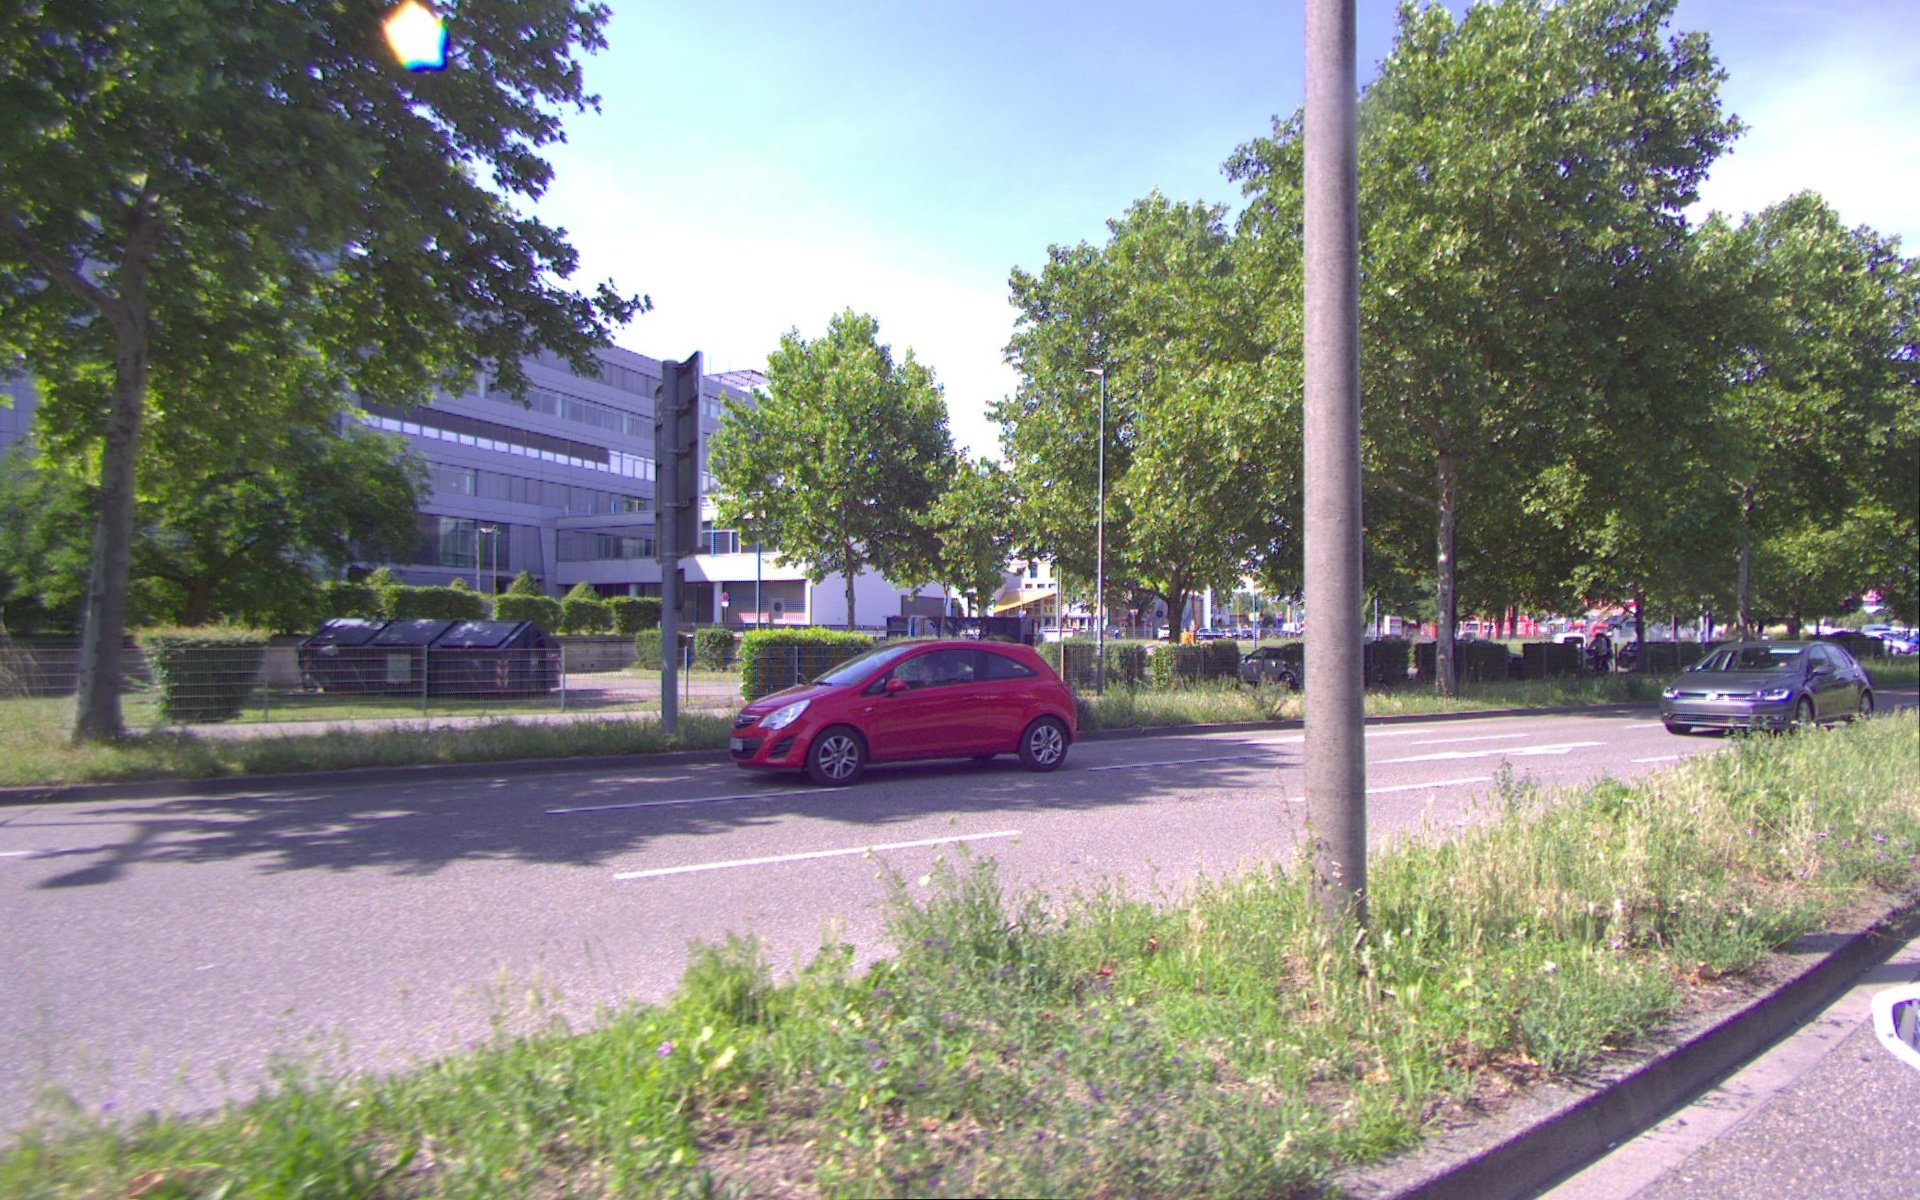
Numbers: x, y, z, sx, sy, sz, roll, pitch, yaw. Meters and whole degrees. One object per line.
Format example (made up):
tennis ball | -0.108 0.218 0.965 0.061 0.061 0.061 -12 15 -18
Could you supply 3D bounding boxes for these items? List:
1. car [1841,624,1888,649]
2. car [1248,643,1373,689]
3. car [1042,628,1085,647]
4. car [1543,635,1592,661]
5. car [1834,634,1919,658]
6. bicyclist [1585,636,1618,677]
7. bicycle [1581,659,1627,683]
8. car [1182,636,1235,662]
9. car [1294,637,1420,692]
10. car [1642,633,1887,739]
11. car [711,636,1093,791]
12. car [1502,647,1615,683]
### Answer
car | 98.502 3.972 109.475 1.960 2.566 4.642 0 -2 16
car | 12.115 2.263 34.971 1.751 1.483 3.970 1 -2 -29
car | 10.362 3.715 100.803 3.925 1.795 1.845 -1 0 25
car | 41.859 3.300 69.306 1.961 1.687 4.845 -1 -2 21
car | 64.401 3.207 70.670 1.695 1.624 4.148 1 -2 -18
bicyclist | 24.021 2.105 37.633 0.931 1.504 0.678 1 -2 -30
bicycle | 24.188 2.662 37.714 1.904 0.877 0.686 1 -2 -30
car | 16.323 3.184 66.125 1.774 1.524 3.989 -1 0 -14
car | 14.571 2.335 37.070 2.128 1.847 3.974 2 -1 -26
car | 12.930 1.300 16.095 4.120 1.498 1.829 2 -2 -32
car | -0.632 1.168 11.332 3.949 1.481 1.757 1 -3 -28
car | 26.592 2.891 44.753 1.787 1.432 3.961 3 -2 -35
